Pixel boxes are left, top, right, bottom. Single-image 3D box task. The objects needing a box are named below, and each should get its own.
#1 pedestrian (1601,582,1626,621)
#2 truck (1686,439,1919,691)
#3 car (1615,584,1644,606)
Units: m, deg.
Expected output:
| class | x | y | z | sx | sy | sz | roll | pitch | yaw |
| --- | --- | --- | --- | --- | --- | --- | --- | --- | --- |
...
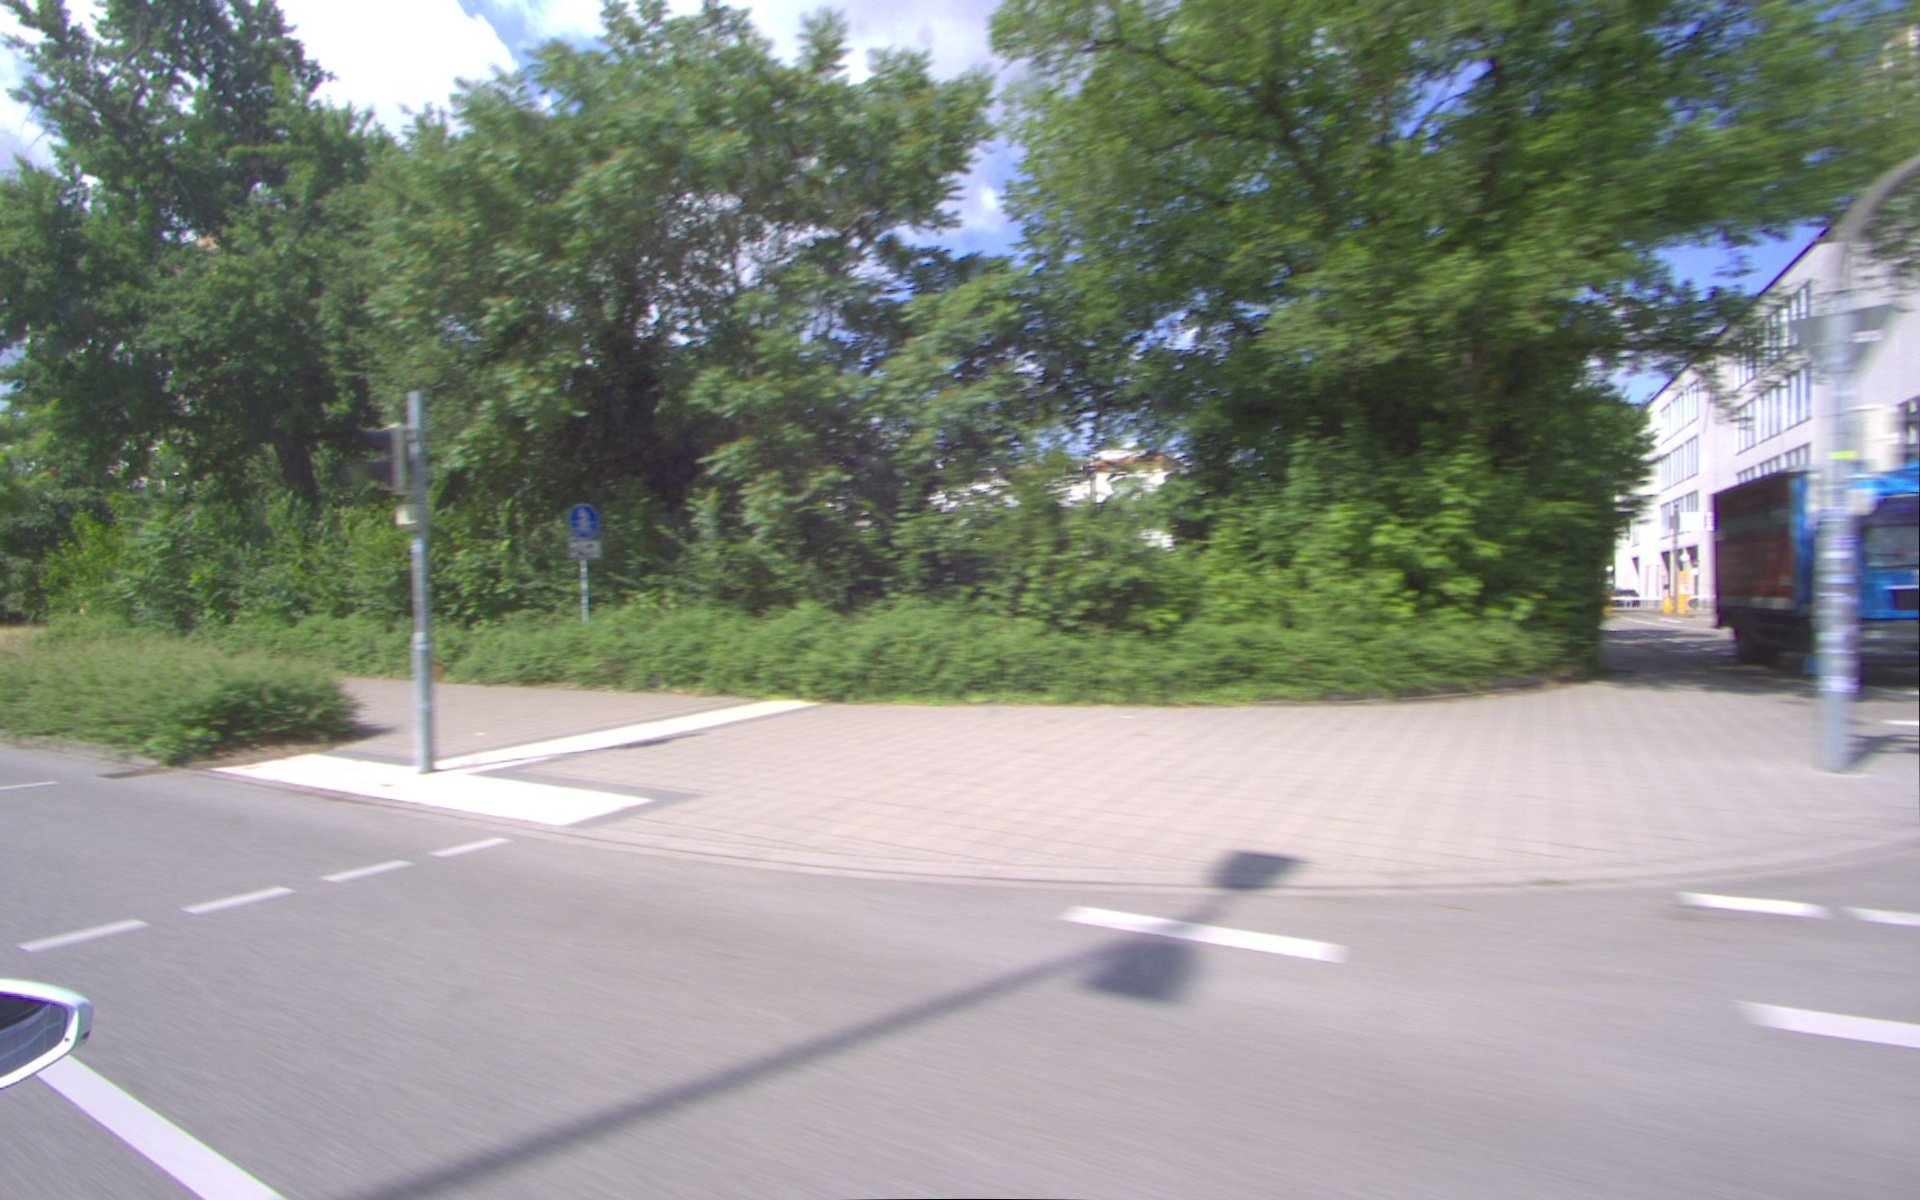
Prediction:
| class | x | y | z | sx | sy | sz | roll | pitch | yaw |
| --- | --- | --- | --- | --- | --- | --- | --- | --- | --- |
| pedestrian | 34.969 | 0.076 | 53.566 | 1.044 | 2.040 | 0.821 | 0 | 1 | 29 |
| truck | 17.461 | -0.618 | 20.038 | 2.734 | 3.933 | 10.107 | -2 | 0 | 25 |
| car | 59.839 | -0.407 | 89.581 | 1.635 | 1.795 | 3.986 | -1 | -1 | 27 |
